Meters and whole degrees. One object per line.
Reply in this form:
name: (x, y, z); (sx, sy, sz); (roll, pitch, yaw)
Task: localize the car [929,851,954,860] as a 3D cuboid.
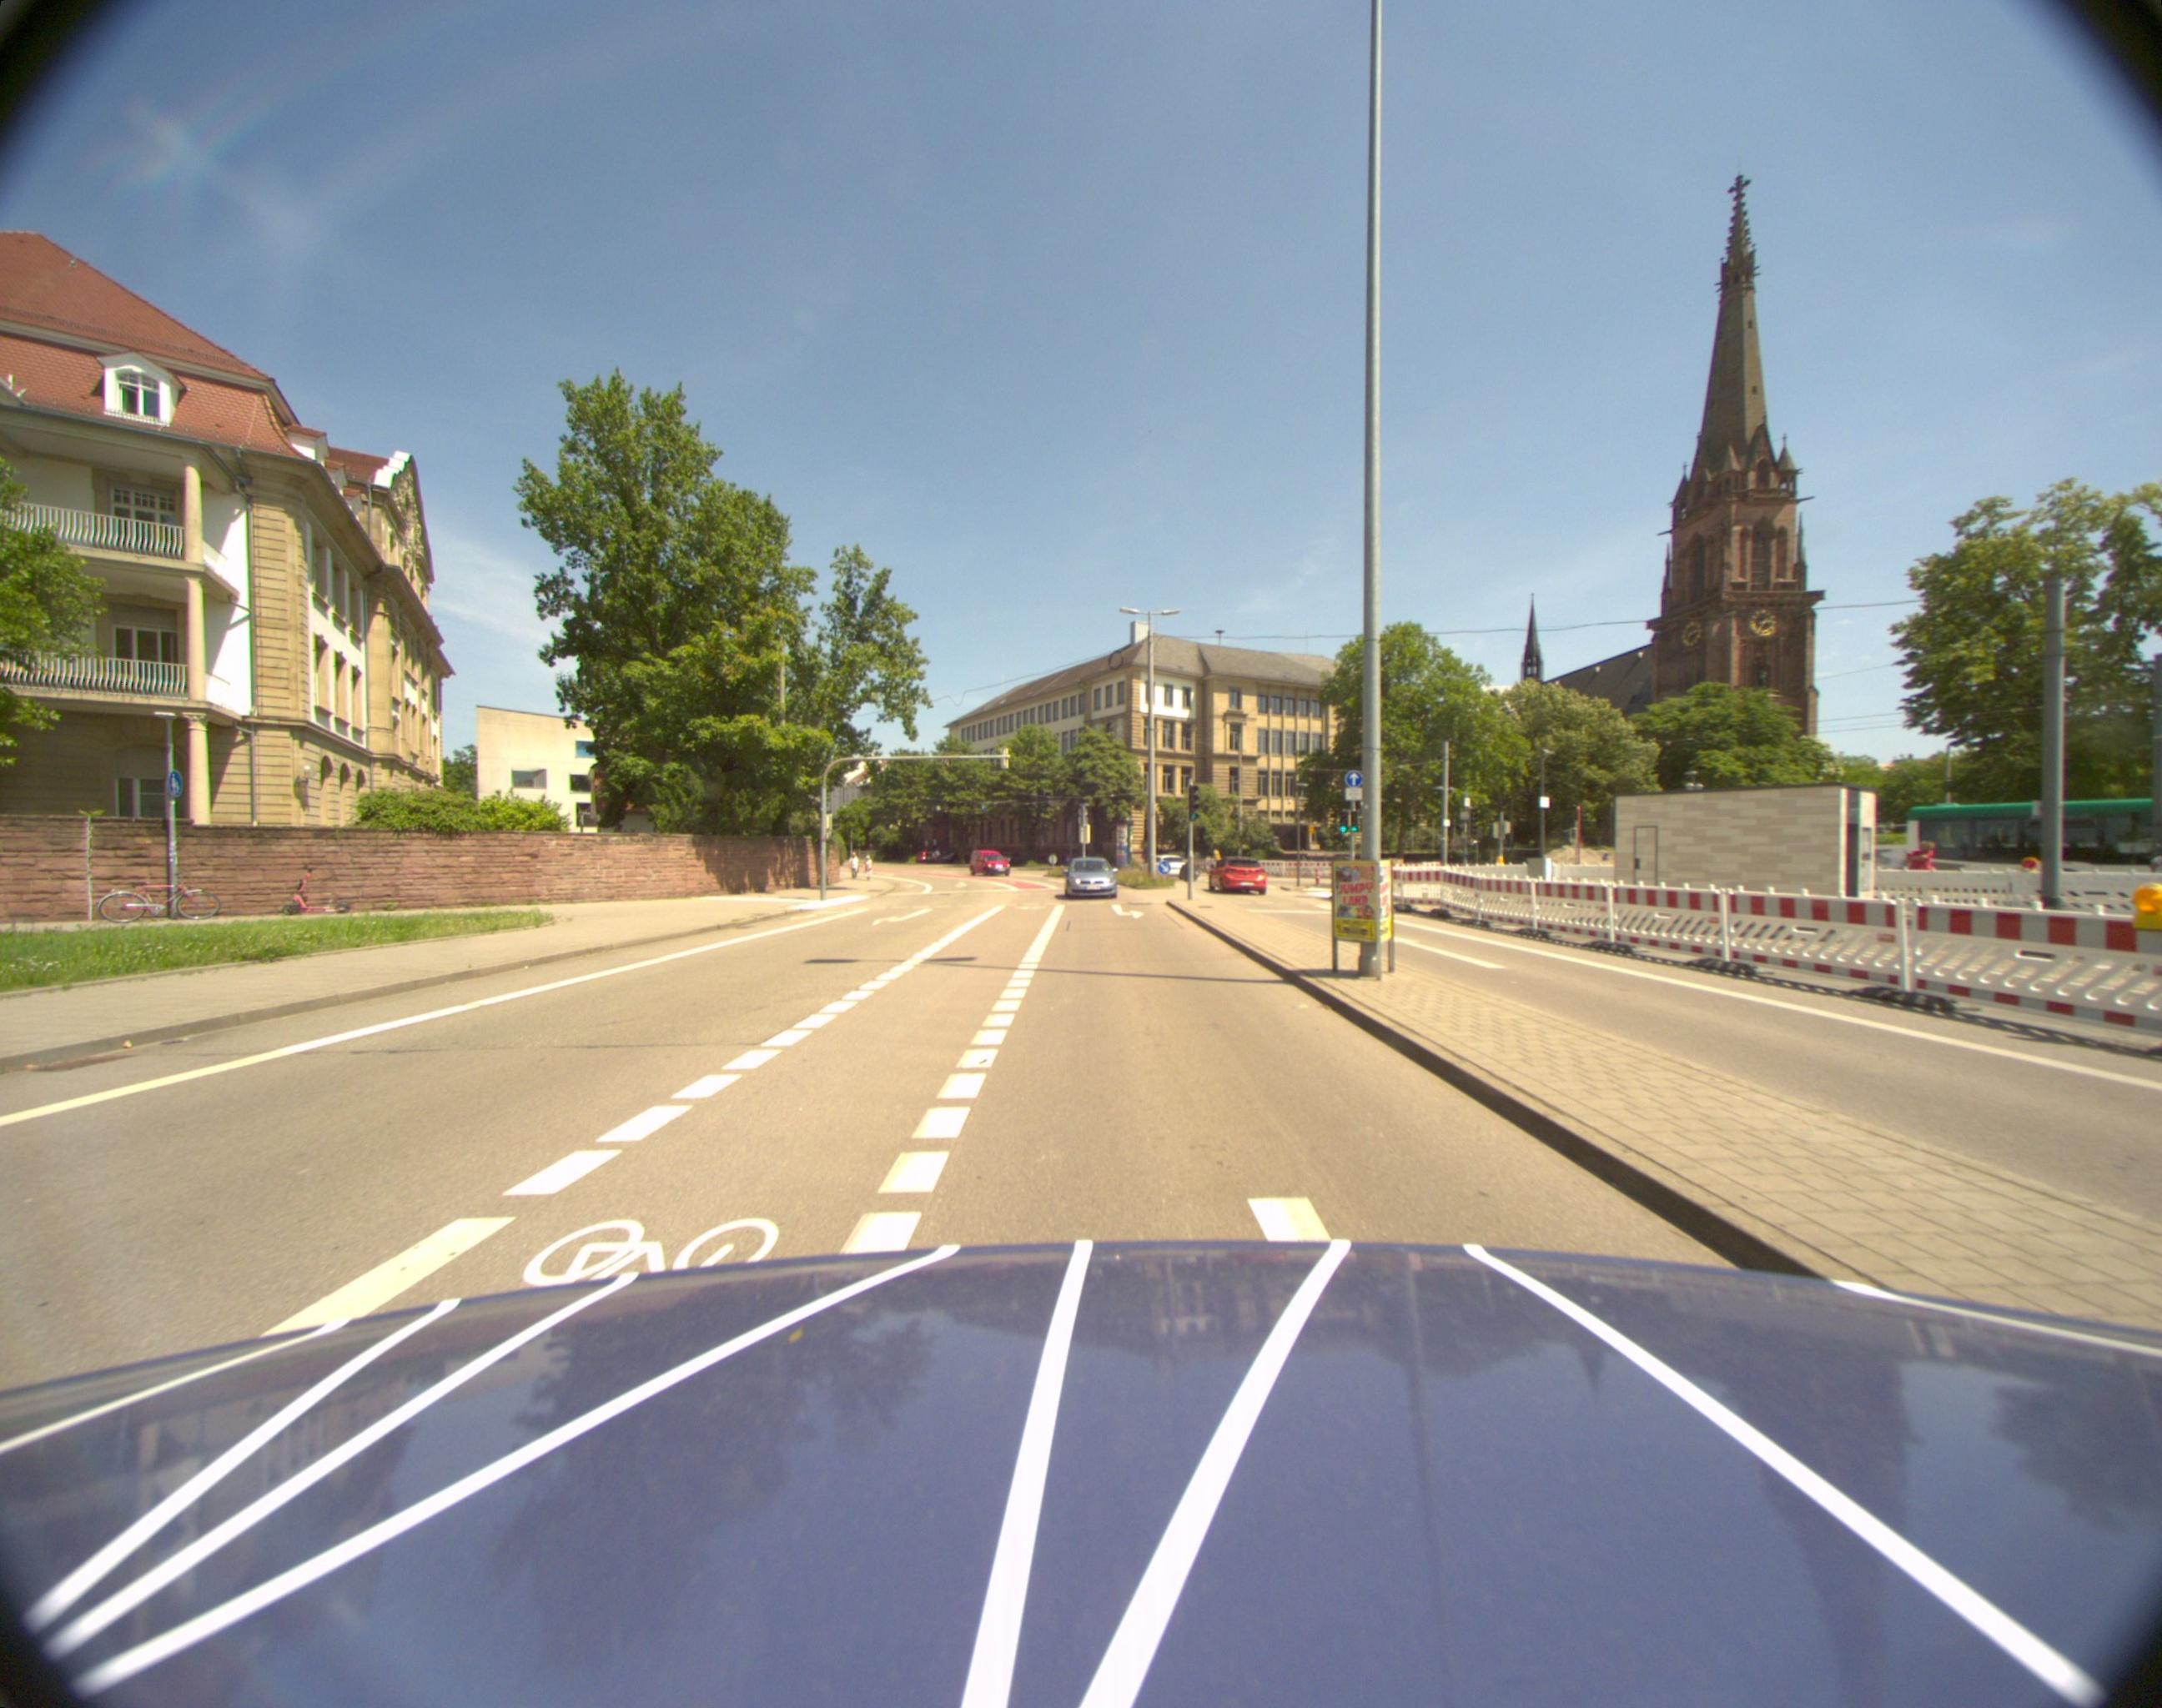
car: (-18.175, 0.217, 99.162); (1.277, 1.093, 2.995); (-1, 1, 38)

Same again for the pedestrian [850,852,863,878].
pedestrian: (-13.943, 0.669, 47.222); (0.606, 1.601, 0.557); (2, -1, -31)

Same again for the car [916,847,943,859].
car: (-20.508, -0.148, 102.933); (1.611, 1.444, 3.585); (-2, 1, 28)

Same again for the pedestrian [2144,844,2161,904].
pedestrian: (29.836, 0.542, 20.960); (0.628, 1.645, 0.545); (-3, 2, -39)

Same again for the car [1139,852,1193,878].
car: (5.117, 0.658, 46.328); (1.822, 1.420, 4.421); (1, 0, -13)

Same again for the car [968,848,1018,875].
car: (-6.329, 0.507, 54.230); (1.837, 1.756, 4.268); (-3, 1, -32)

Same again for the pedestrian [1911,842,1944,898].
pedestrian: (26.128, 0.489, 23.461); (0.564, 1.691, 0.582); (-1, 2, 36)

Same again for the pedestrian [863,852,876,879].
pedestrian: (-12.808, 0.706, 46.048); (0.606, 1.601, 0.557); (2, -1, -31)

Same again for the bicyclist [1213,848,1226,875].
bicyclist: (8.631, 0.458, 47.492); (0.587, 1.655, 0.798); (2, 1, -3)

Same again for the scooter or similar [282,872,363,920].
scooter or similar: (-18.902, 1.028, 18.960); (0.373, 1.102, 1.352); (-1, 1, 39)

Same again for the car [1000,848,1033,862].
car: (-7.138, 0.083, 84.255); (1.567, 1.412, 3.559); (-1, 1, 40)

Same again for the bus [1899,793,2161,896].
bus: (33.169, -0.333, 23.357); (2.860, 3.036, 10.576); (-3, 1, -33)

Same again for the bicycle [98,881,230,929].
bicycle: (-20.396, 1.109, 16.960); (1.778, 0.923, 0.677); (-3, 1, -44)

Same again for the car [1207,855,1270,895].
car: (6.188, 0.767, 30.224); (1.692, 1.370, 4.013); (2, 1, 1)

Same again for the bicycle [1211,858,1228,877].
bicycle: (8.622, 0.827, 47.429); (0.589, 1.143, 2.009); (2, 1, -3)

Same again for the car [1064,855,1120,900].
car: (0.320, 0.792, 27.523); (1.832, 1.406, 3.993); (-1, 1, -2)

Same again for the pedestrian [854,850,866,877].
pedestrian: (-14.458, 0.635, 49.656); (0.606, 1.702, 0.557); (2, -1, -32)

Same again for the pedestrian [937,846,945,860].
pedestrian: (-16.637, -0.163, 90.240); (0.725, 1.661, 0.642); (0, 1, -29)
